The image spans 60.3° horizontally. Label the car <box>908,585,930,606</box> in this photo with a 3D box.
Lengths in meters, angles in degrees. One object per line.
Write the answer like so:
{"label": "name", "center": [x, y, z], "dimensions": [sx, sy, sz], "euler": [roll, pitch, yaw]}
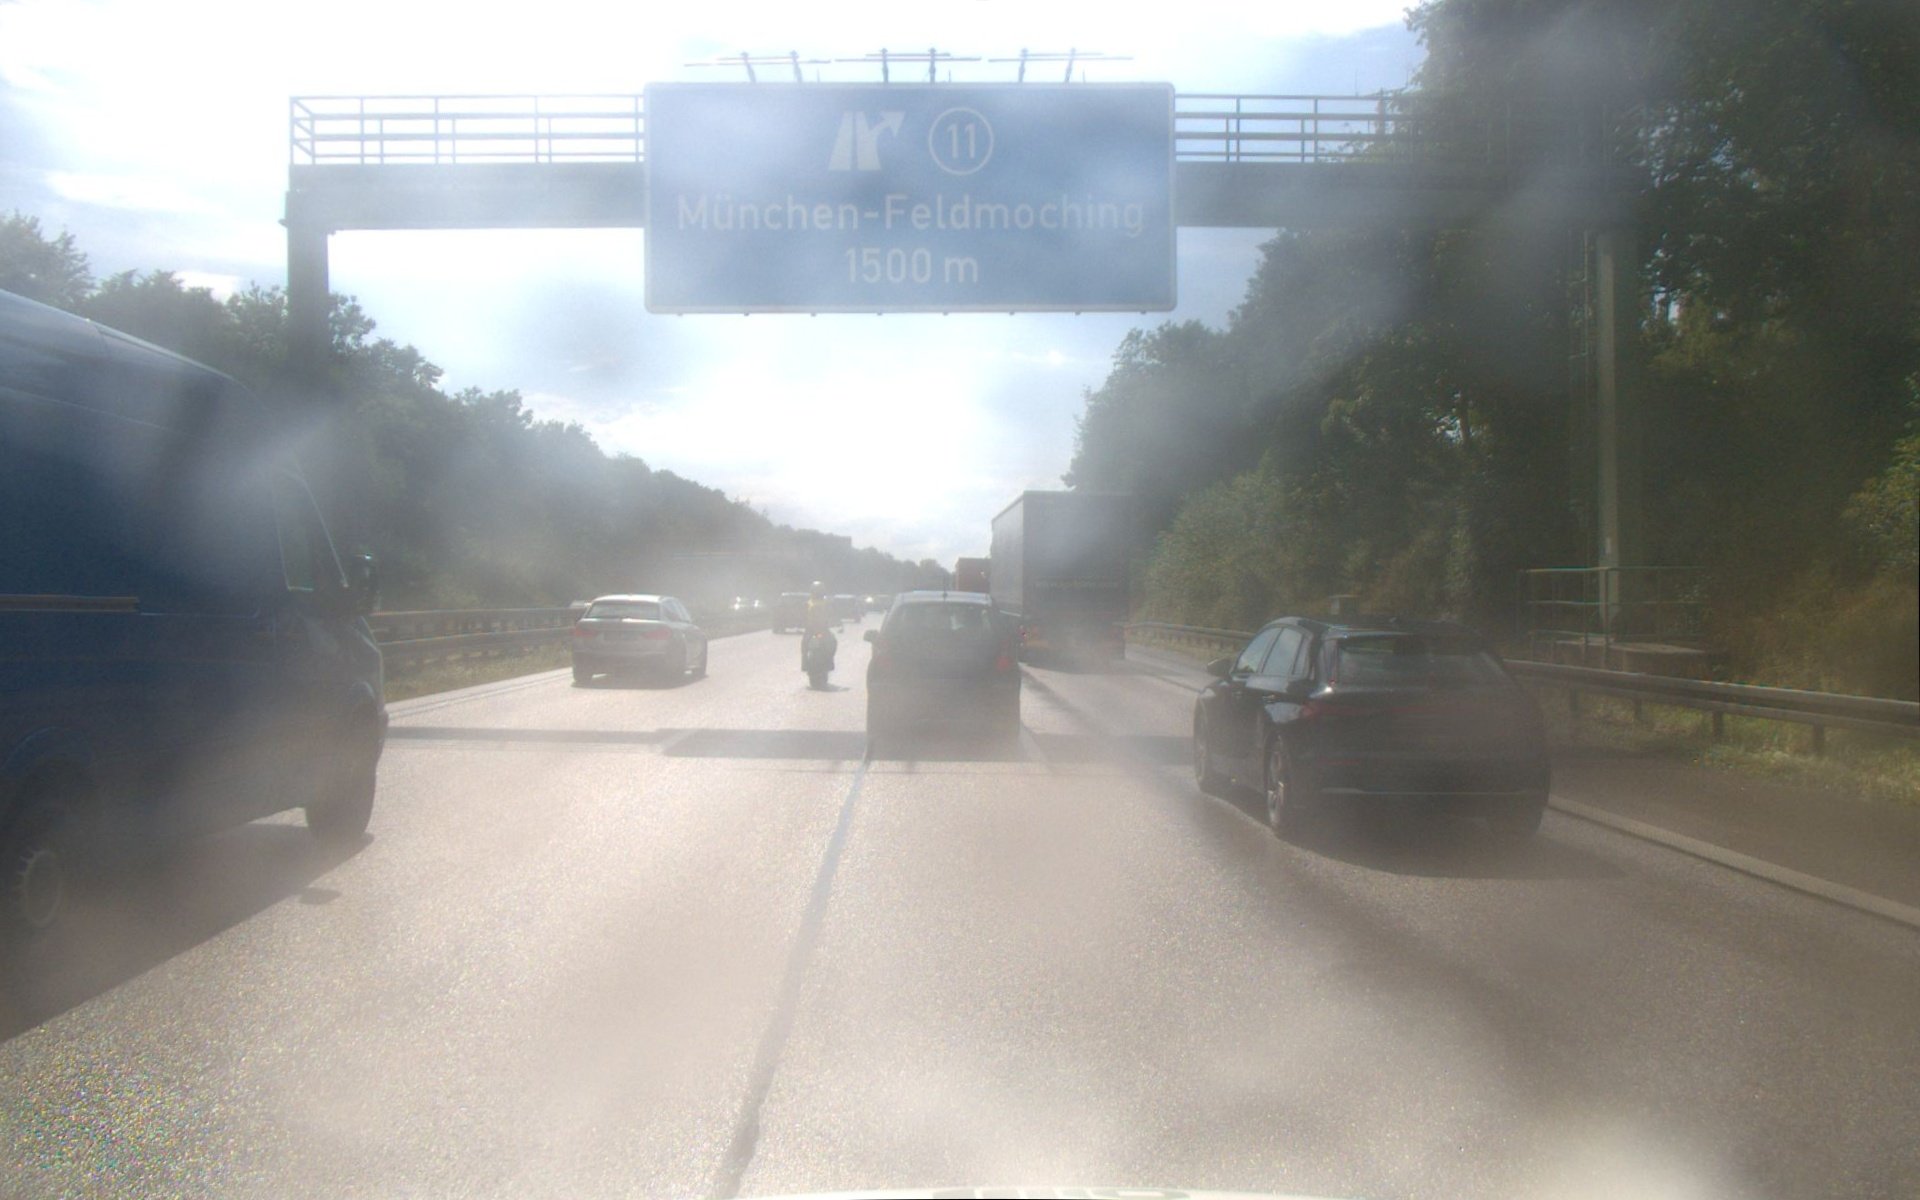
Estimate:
{"label": "car", "center": [-2.950, -0.333, 119.163], "dimensions": [1.599, 1.516, 3.435], "euler": [0, 0, -2]}

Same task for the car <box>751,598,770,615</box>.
{"label": "car", "center": [-24.655, 0.784, 204.811], "dimensions": [1.953, 2.049, 3.999], "euler": [2, 0, -2]}

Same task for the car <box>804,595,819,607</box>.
{"label": "car", "center": [-21.048, 0.123, 234.382], "dimensions": [1.883, 1.608, 3.999], "euler": [-1, 0, -2]}

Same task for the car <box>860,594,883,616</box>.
{"label": "car", "center": [-8.322, 0.465, 155.783], "dimensions": [1.953, 2.049, 3.999], "euler": [1, 0, -2]}

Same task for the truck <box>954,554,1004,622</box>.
{"label": "truck", "center": [1.250, -0.791, 113.674], "dimensions": [3.137, 4.481, 9.430], "euler": [1, 0, -1]}

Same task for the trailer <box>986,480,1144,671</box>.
{"label": "trailer", "center": [2.526, -0.560, 45.181], "dimensions": [3.026, 4.388, 14.100], "euler": [0, 0, -2]}

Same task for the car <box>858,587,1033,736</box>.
{"label": "car", "center": [-0.217, 0.663, 20.006], "dimensions": [1.876, 1.592, 4.312], "euler": [0, 0, -2]}

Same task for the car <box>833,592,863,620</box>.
{"label": "car", "center": [-6.729, 0.349, 99.418], "dimensions": [1.641, 1.625, 3.435], "euler": [0, 0, -2]}

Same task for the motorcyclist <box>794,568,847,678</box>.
{"label": "motorcyclist", "center": [-2.349, 0.382, 27.980], "dimensions": [0.805, 1.791, 1.390], "euler": [1, -1, -2]}

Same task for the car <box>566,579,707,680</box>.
{"label": "car", "center": [-5.574, 0.475, 29.001], "dimensions": [1.723, 1.622, 4.329], "euler": [0, 0, -2]}

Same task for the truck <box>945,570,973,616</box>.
{"label": "truck", "center": [-0.157, -0.704, 182.099], "dimensions": [2.823, 4.769, 12.654], "euler": [1, 0, -1]}

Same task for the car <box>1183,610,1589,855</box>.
{"label": "car", "center": [2.832, 0.802, 12.020], "dimensions": [1.719, 1.421, 4.367], "euler": [0, 0, -2]}

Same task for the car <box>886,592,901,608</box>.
{"label": "car", "center": [-8.750, 0.047, 218.336], "dimensions": [1.953, 2.049, 3.999], "euler": [1, 0, -2]}

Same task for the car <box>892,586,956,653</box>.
{"label": "car", "center": [-1.185, 0.610, 53.362], "dimensions": [1.953, 2.049, 3.998], "euler": [1, 0, -2]}

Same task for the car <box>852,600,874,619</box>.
{"label": "car", "center": [-7.634, 0.738, 130.130], "dimensions": [1.641, 1.516, 3.435], "euler": [0, 0, -2]}

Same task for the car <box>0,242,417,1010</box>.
{"label": "car", "center": [-4.405, 0.087, 7.692], "dimensions": [1.975, 2.695, 5.775], "euler": [0, 0, -2]}

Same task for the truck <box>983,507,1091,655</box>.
{"label": "truck", "center": [2.355, -0.581, 52.470], "dimensions": [2.990, 4.400, 5.885], "euler": [1, 0, -1]}

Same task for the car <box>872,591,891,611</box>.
{"label": "car", "center": [-8.423, 0.116, 177.823], "dimensions": [1.953, 2.049, 3.999], "euler": [1, 0, -2]}

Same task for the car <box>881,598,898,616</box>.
{"label": "car", "center": [-8.461, 0.863, 199.680], "dimensions": [1.953, 2.049, 3.999], "euler": [1, 0, -2]}

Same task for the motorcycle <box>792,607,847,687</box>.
{"label": "motorcycle", "center": [-2.354, 0.771, 27.968], "dimensions": [0.803, 1.285, 2.116], "euler": [1, 0, -2]}

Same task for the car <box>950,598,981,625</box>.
{"label": "car", "center": [0.303, 0.662, 95.172], "dimensions": [1.641, 1.516, 3.435], "euler": [0, 0, -2]}

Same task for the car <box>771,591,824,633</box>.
{"label": "car", "center": [-6.659, 0.467, 68.173], "dimensions": [1.855, 1.656, 4.193], "euler": [0, 0, -2]}

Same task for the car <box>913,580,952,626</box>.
{"label": "car", "center": [-1.241, 0.147, 73.248], "dimensions": [1.641, 1.970, 3.772], "euler": [0, 0, -2]}
